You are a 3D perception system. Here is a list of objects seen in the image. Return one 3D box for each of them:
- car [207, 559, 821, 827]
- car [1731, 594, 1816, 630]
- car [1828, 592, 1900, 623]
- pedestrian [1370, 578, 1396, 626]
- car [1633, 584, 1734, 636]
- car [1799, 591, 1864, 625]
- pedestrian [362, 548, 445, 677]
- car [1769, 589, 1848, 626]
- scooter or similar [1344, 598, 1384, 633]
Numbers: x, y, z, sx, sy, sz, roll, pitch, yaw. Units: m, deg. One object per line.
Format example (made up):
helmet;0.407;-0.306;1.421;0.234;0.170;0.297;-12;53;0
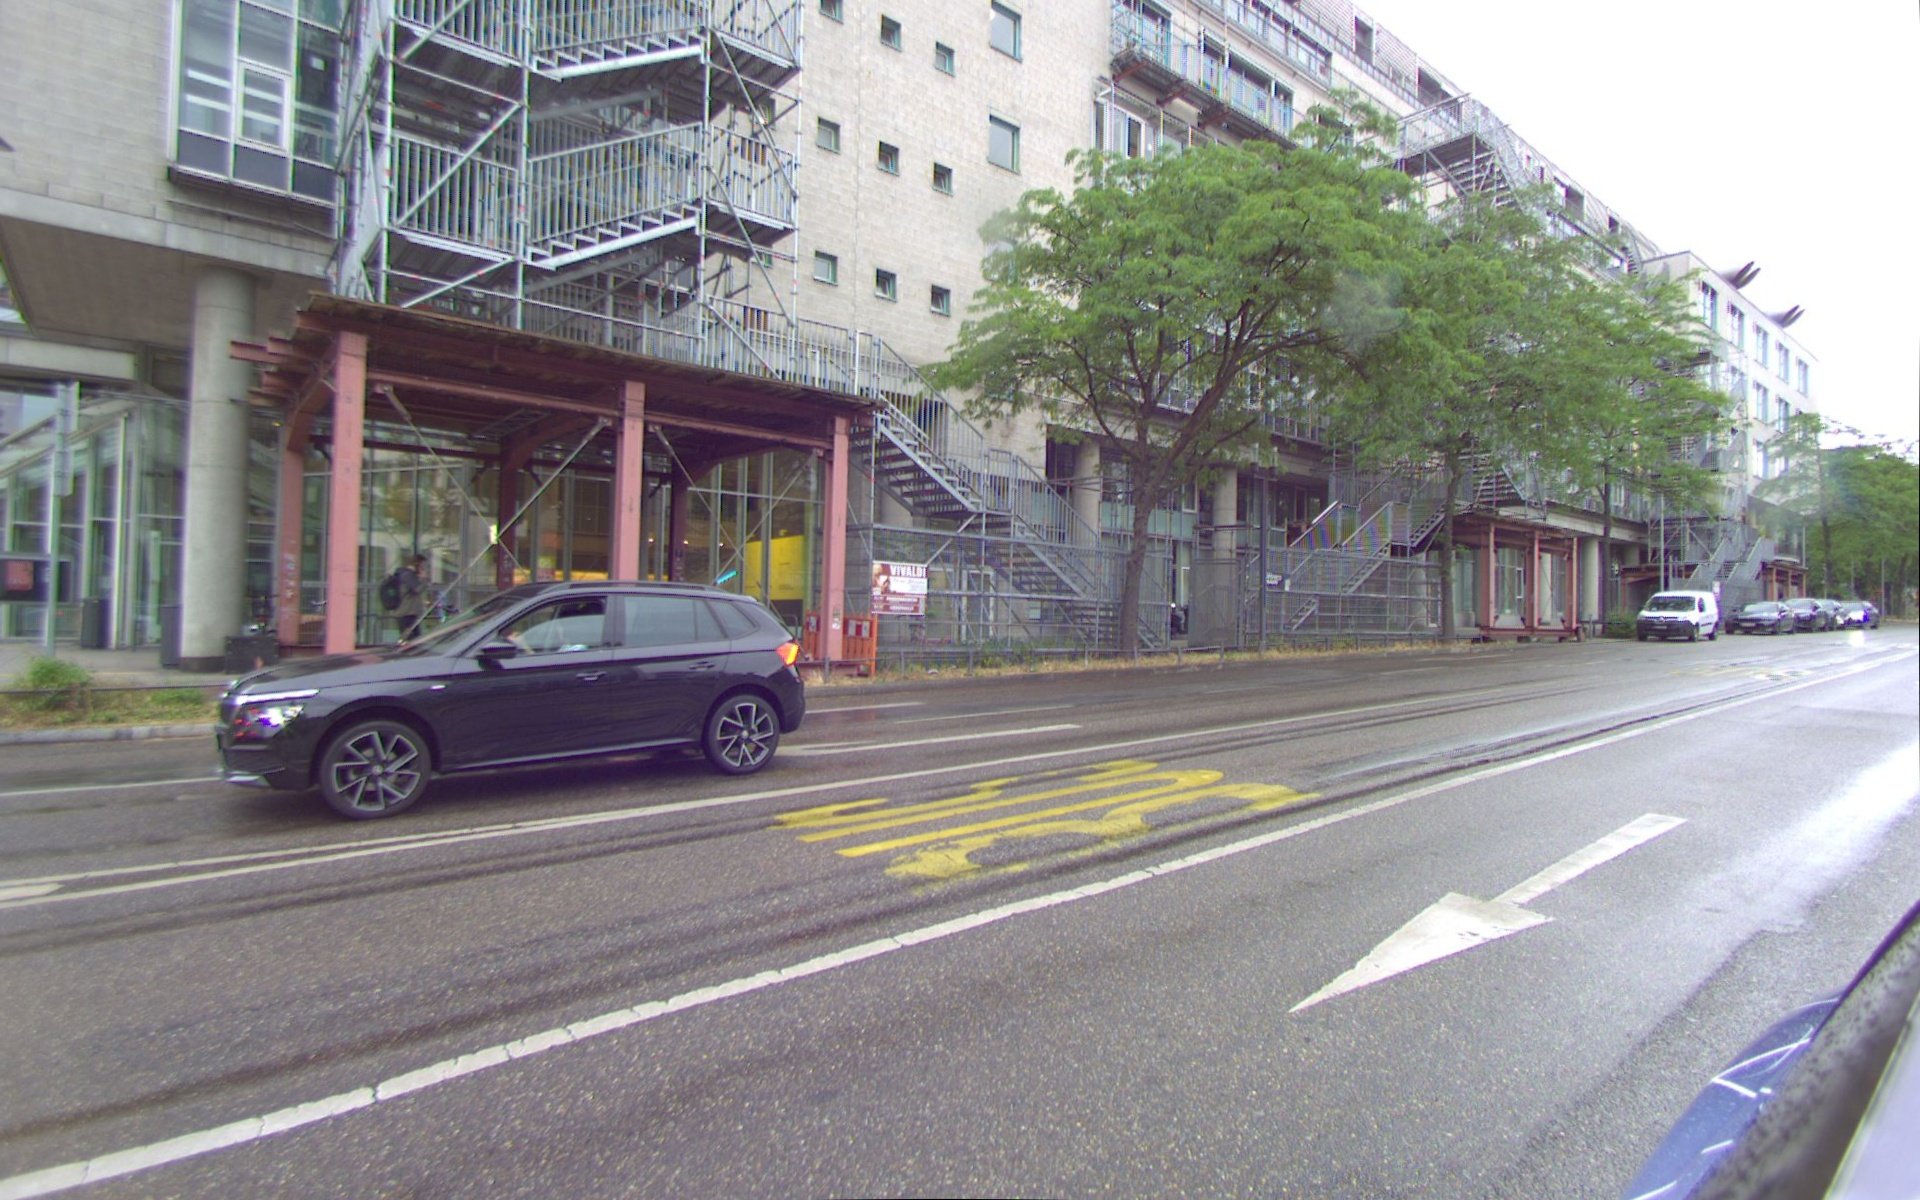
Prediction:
car;-3.296;0.533;7.879;4.071;1.559;1.782;0;0;-39
car;35.262;0.506;43.820;4.831;1.455;1.873;0;0;-39
car;49.116;0.403;54.965;5.191;1.621;1.999;0;0;-38
pedestrian;15.764;0.081;37.697;0.641;1.764;0.678;0;0;-38
car;26.228;0.316;36.632;4.447;1.772;1.997;0;0;-41
car;44.395;0.386;51.537;4.512;1.621;1.865;0;0;-41
pedestrian;-8.415;0.177;15.295;1.036;1.875;0.682;0;0;-34
car;40.365;0.361;48.125;4.774;1.667;1.998;0;0;-39
scooter or similar;13.809;0.519;34.560;1.520;1.176;0.632;0;0;-41
